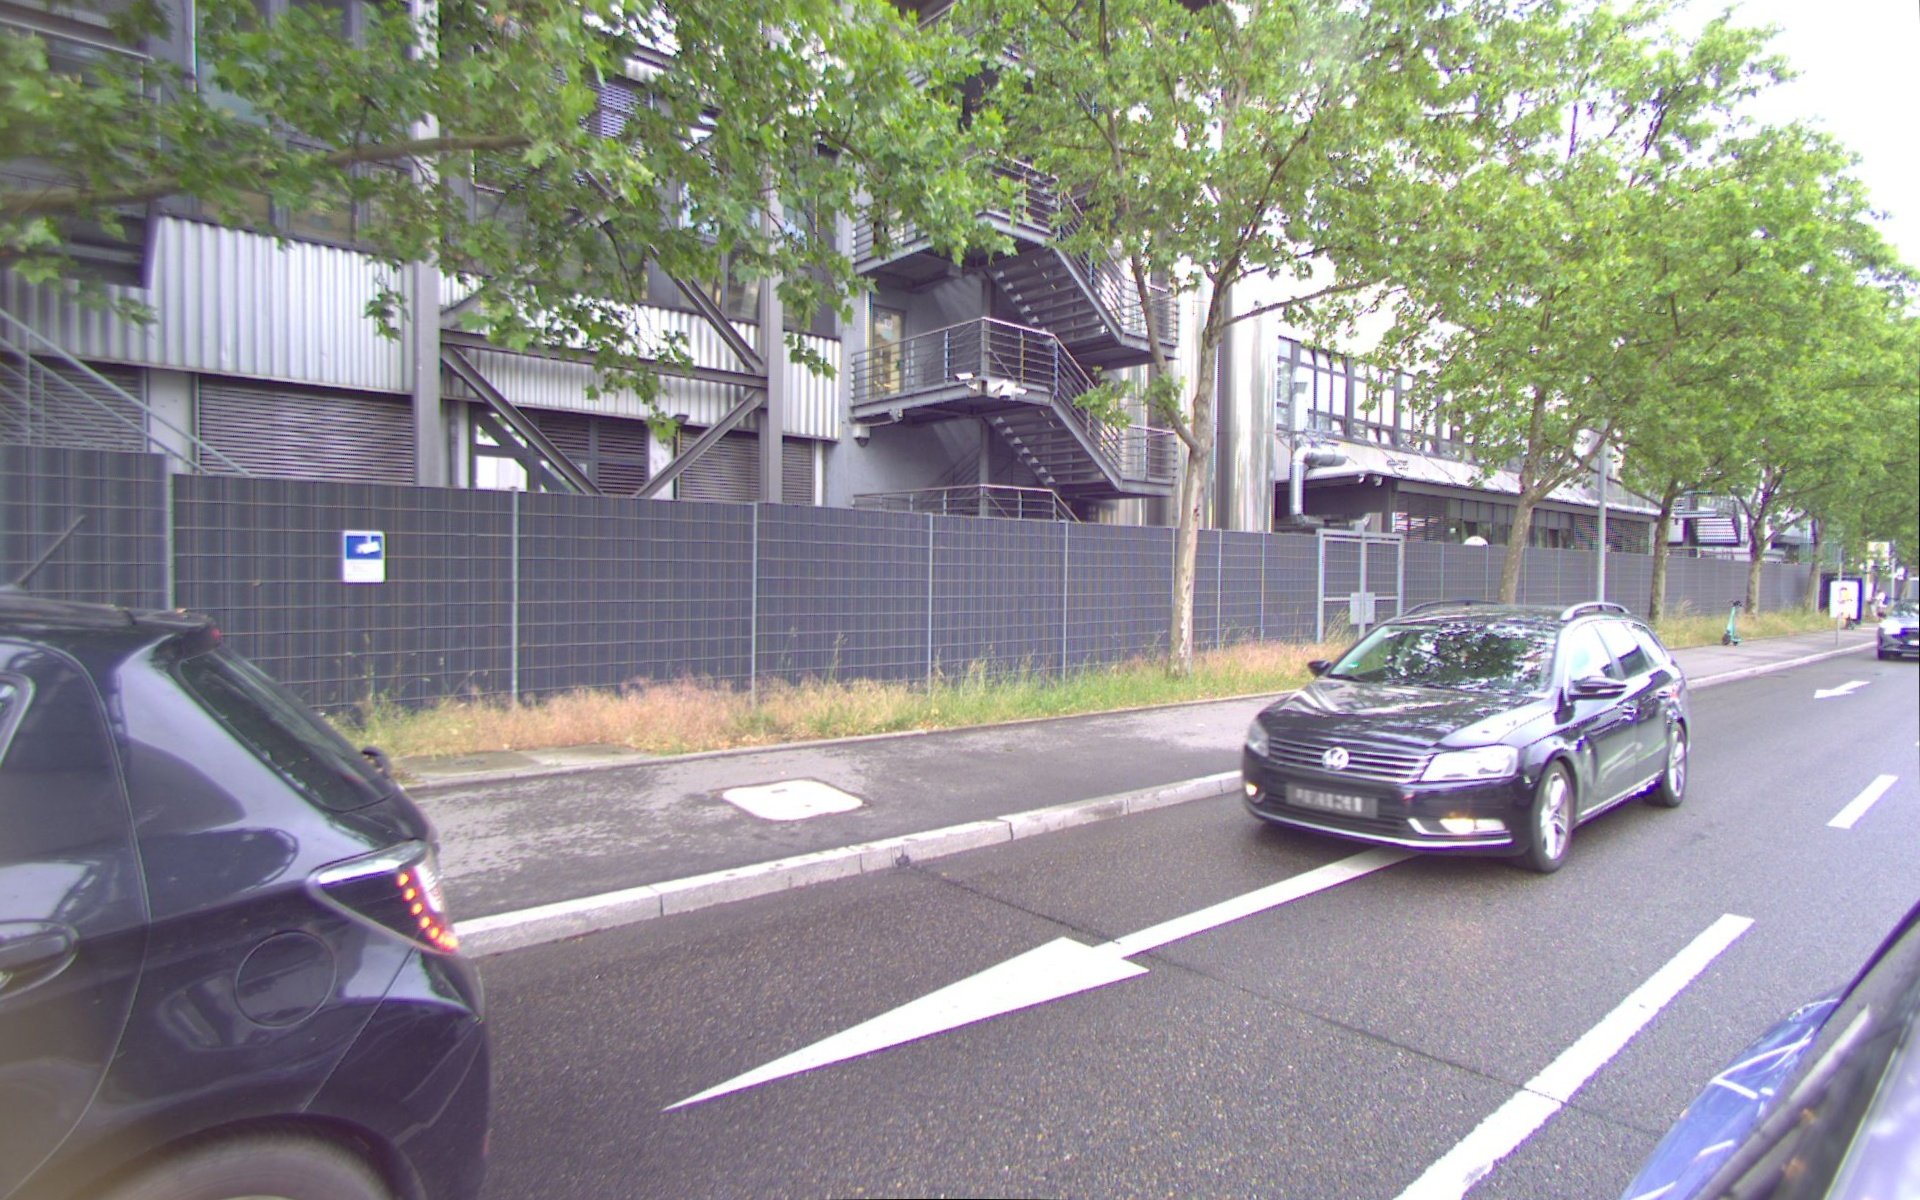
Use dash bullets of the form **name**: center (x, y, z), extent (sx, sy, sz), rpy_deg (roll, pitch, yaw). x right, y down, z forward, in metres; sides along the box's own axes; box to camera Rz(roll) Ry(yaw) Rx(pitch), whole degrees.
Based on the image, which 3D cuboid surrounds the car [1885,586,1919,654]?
- **car**: center (25.194, 0.516, 25.866), extent (4.004, 1.639, 1.949), rpy_deg (0, 2, -43)

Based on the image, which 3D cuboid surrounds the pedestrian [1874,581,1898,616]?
- **pedestrian**: center (46.384, -0.073, 50.693), extent (0.717, 1.731, 0.777), rpy_deg (0, 1, -42)

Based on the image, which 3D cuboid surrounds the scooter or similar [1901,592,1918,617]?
- **scooter or similar**: center (49.551, 0.222, 52.795), extent (1.277, 1.311, 0.437), rpy_deg (0, 1, -39)

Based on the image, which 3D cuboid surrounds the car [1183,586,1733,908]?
- **car**: center (3.656, 0.654, 6.917), extent (4.705, 1.471, 1.840), rpy_deg (0, 0, -43)

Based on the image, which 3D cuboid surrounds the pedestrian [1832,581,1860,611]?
- **pedestrian**: center (42.857, -0.217, 48.951), extent (0.686, 1.433, 0.932), rpy_deg (0, 2, -42)

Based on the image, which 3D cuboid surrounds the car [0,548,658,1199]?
- **car**: center (-2.672, 0.665, 1.234), extent (4.010, 1.512, 1.877), rpy_deg (0, 3, -45)

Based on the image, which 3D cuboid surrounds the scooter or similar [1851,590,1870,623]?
- **scooter or similar**: center (37.271, 0.263, 41.883), extent (1.222, 1.325, 0.329), rpy_deg (0, 1, -37)
